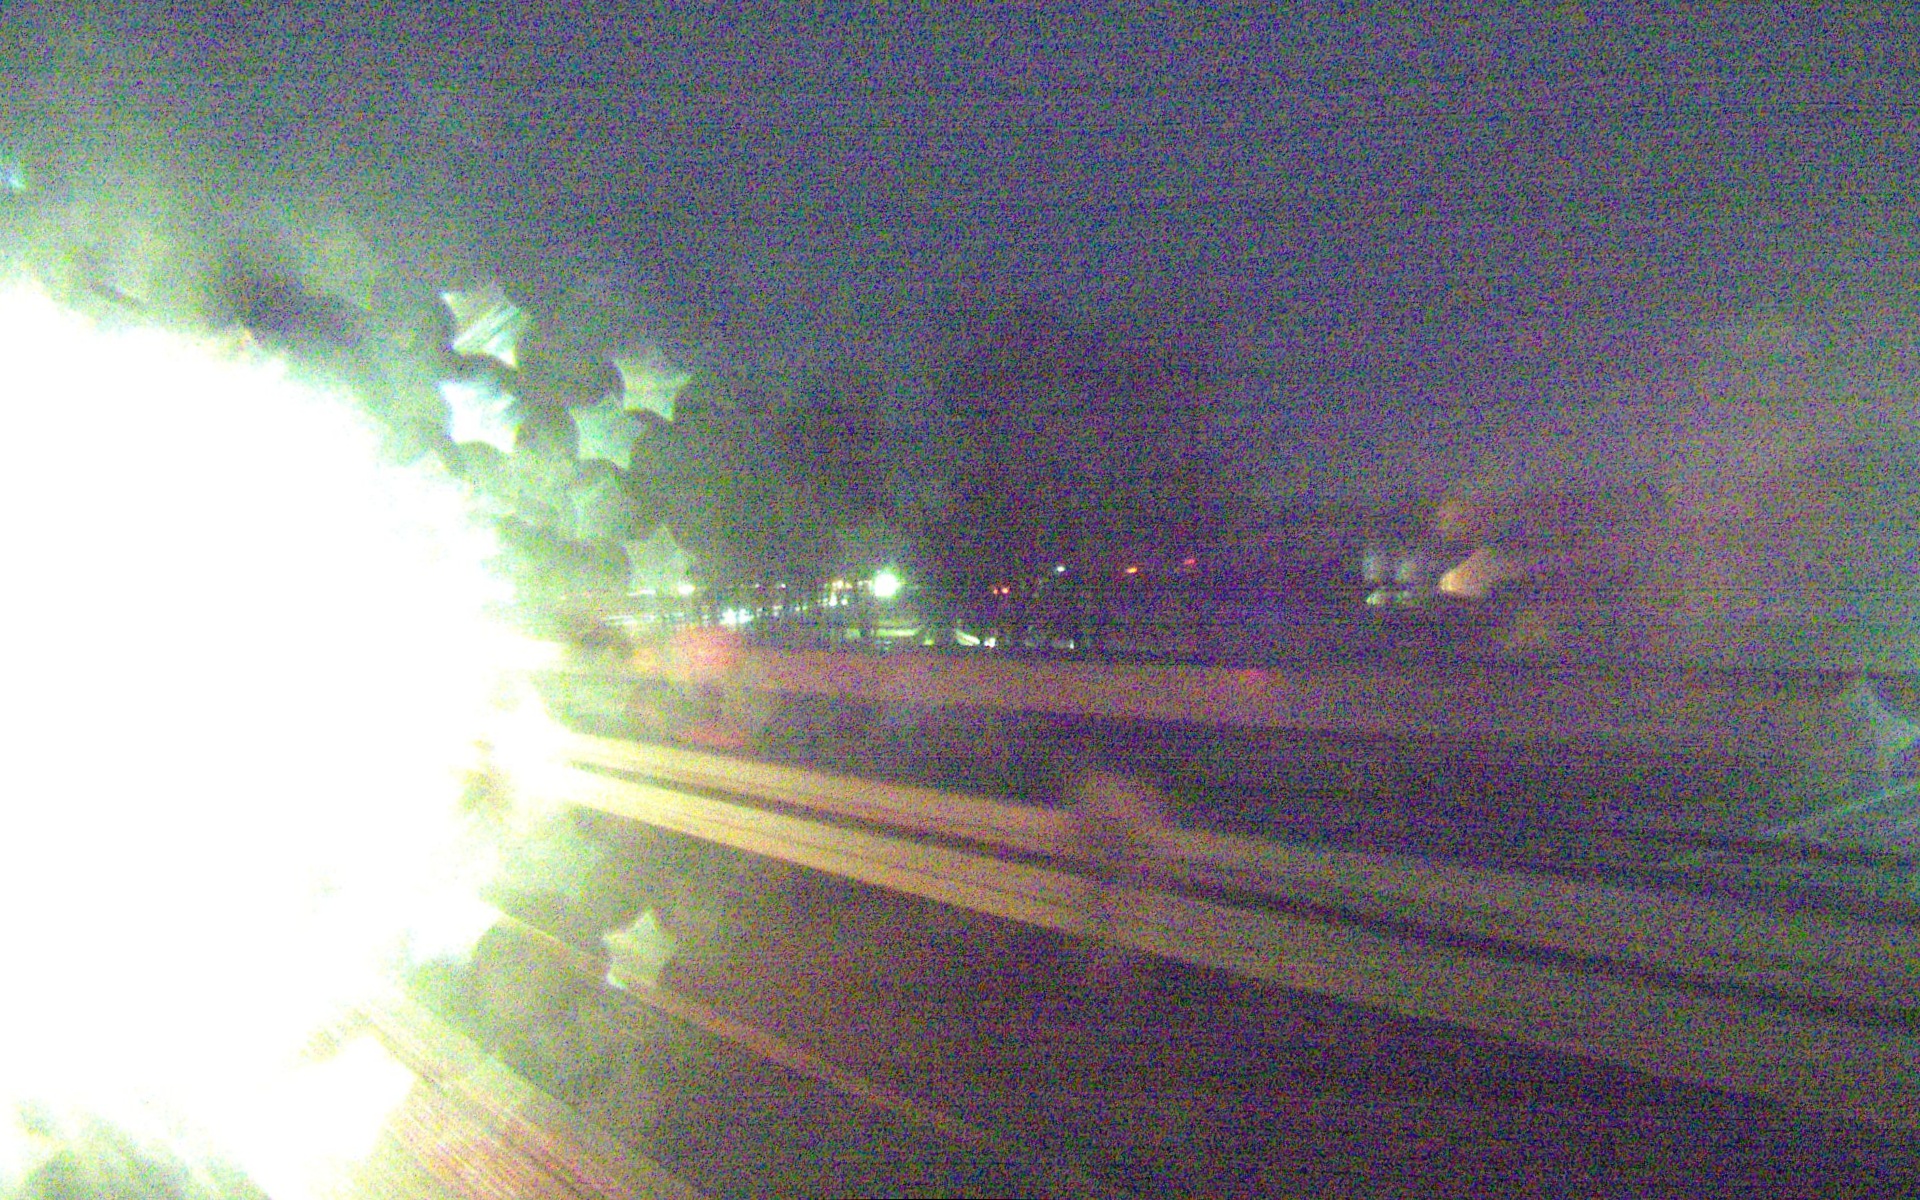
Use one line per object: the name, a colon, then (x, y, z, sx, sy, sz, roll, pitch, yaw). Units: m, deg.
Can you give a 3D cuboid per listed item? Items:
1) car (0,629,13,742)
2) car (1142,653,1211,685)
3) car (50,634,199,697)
car: (-12.473, 1.058, 11.805, 1.660, 1.462, 3.650, 2, -3, -37)
car: (14.785, 4.692, 69.307, 1.894, 1.765, 4.250, 2, 0, -43)
car: (-19.437, 1.473, 23.740, 1.731, 1.322, 4.098, 0, -2, -25)
